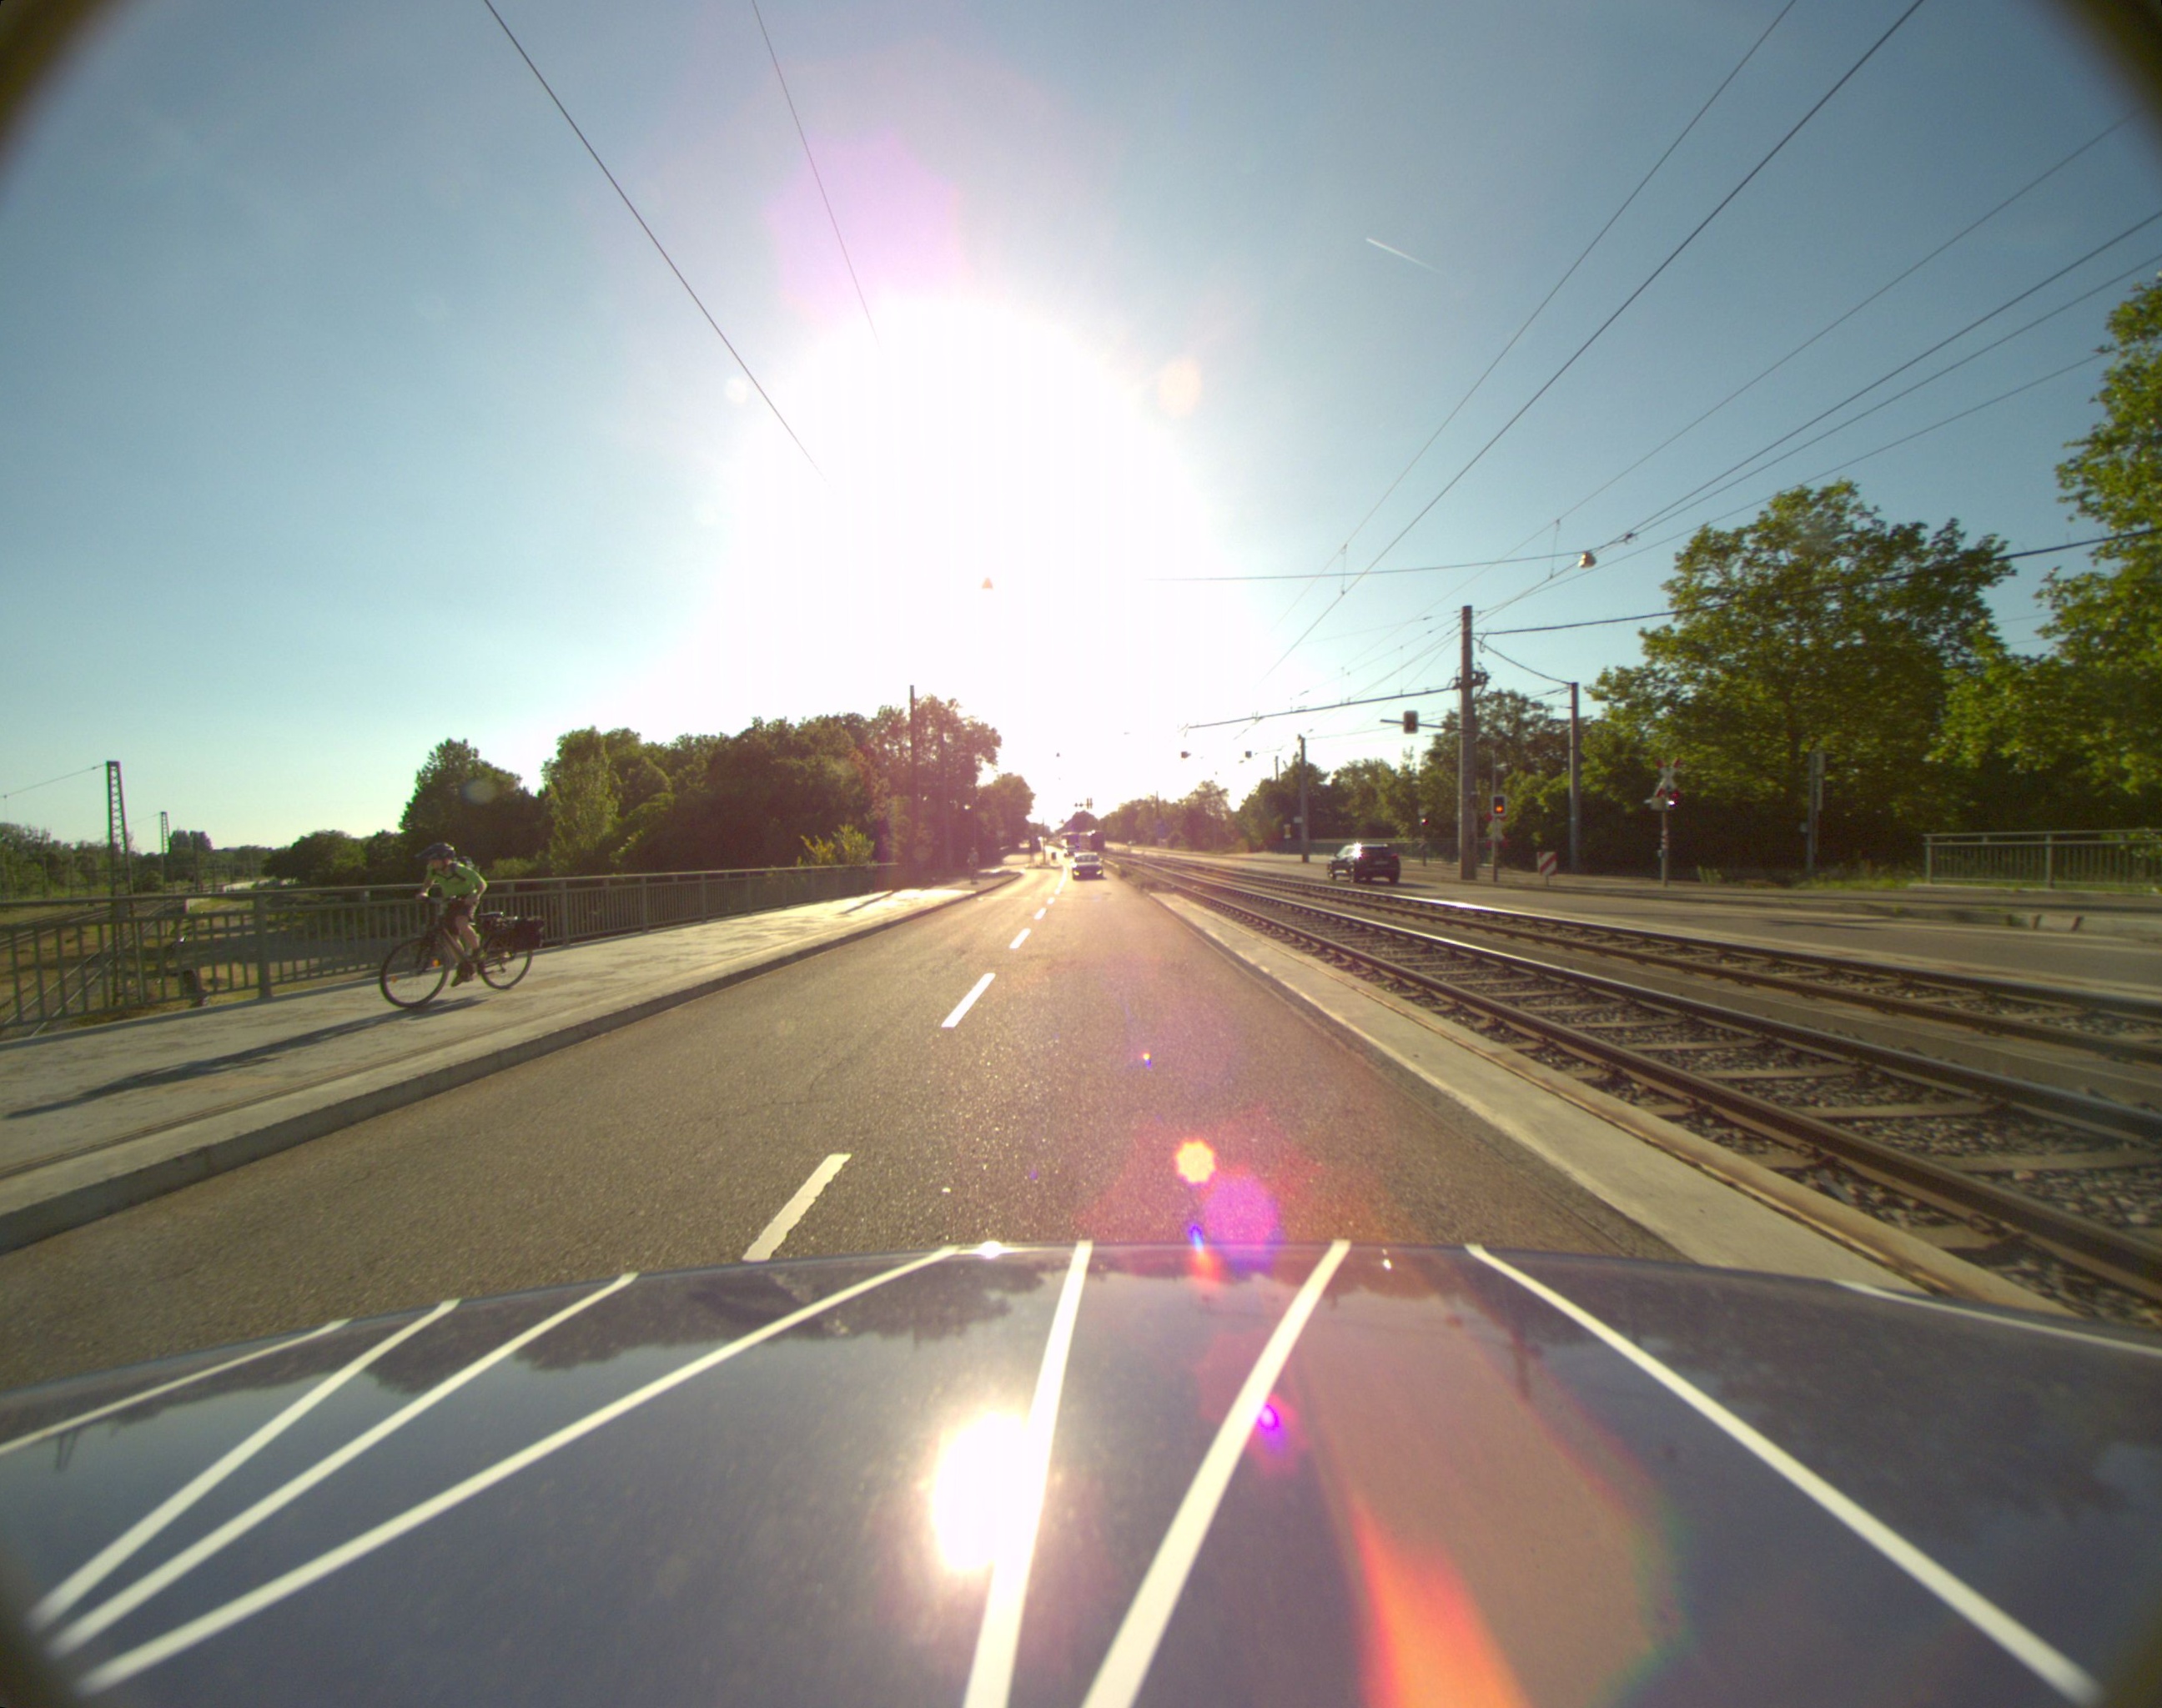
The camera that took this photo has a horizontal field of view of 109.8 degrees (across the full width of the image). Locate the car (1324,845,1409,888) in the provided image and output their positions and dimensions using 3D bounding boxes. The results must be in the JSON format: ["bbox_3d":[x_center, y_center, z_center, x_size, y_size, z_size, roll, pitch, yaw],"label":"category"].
[{"bbox_3d":[11.393,0.440,30.599,1.853,1.494,4.218,-2,1,1],"label":"car"}]

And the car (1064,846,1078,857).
[{"bbox_3d":[-1.285,-0.390,97.713,1.801,1.345,3.999,-1,1,0],"label":"car"}]

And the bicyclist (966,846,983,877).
[{"bbox_3d":[-6.039,0.432,43.090,0.733,1.680,1.201,-5,1,-2],"label":"bicyclist"}]

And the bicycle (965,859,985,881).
[{"bbox_3d":[-5.988,0.898,43.078,0.733,1.116,2.741,-5,1,-2],"label":"bicycle"}]

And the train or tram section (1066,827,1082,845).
[{"bbox_3d":[-1.567,-3.935,166.336,2.570,3.879,11.664,-2,1,-4],"label":"train or tram section"}]

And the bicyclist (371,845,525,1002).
[{"bbox_3d":[-6.700,0.699,8.098,0.814,1.553,0.896,-2,0,0],"label":"bicyclist"}]

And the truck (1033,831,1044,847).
[{"bbox_3d":[-10.523,-3.655,190.126,2.560,3.827,7.865,-2,1,-3],"label":"truck"}]

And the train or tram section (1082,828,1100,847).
[{"bbox_3d":[2.098,-3.509,165.962,3.012,3.879,13.073,-2,1,-3],"label":"train or tram section"}]

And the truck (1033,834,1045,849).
[{"bbox_3d":[-9.580,-2.937,173.559,2.610,3.186,7.865,-2,1,-3],"label":"truck"}]

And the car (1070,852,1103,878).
[{"bbox_3d":[0.296,0.629,44.587,1.801,1.345,3.999,-1,1,0],"label":"car"}]

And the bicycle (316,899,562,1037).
[{"bbox_3d":[-6.692,1.123,8.132,0.685,1.116,2.216,-2,0,1],"label":"bicycle"}]

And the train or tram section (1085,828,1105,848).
[{"bbox_3d":[2.735,-3.259,153.325,2.984,3.879,11.658,-2,1,-3],"label":"train or tram section"}]

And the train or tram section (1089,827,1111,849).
[{"bbox_3d":[3.401,-3.004,141.309,2.986,3.879,12.694,-2,1,-3],"label":"train or tram section"}]
